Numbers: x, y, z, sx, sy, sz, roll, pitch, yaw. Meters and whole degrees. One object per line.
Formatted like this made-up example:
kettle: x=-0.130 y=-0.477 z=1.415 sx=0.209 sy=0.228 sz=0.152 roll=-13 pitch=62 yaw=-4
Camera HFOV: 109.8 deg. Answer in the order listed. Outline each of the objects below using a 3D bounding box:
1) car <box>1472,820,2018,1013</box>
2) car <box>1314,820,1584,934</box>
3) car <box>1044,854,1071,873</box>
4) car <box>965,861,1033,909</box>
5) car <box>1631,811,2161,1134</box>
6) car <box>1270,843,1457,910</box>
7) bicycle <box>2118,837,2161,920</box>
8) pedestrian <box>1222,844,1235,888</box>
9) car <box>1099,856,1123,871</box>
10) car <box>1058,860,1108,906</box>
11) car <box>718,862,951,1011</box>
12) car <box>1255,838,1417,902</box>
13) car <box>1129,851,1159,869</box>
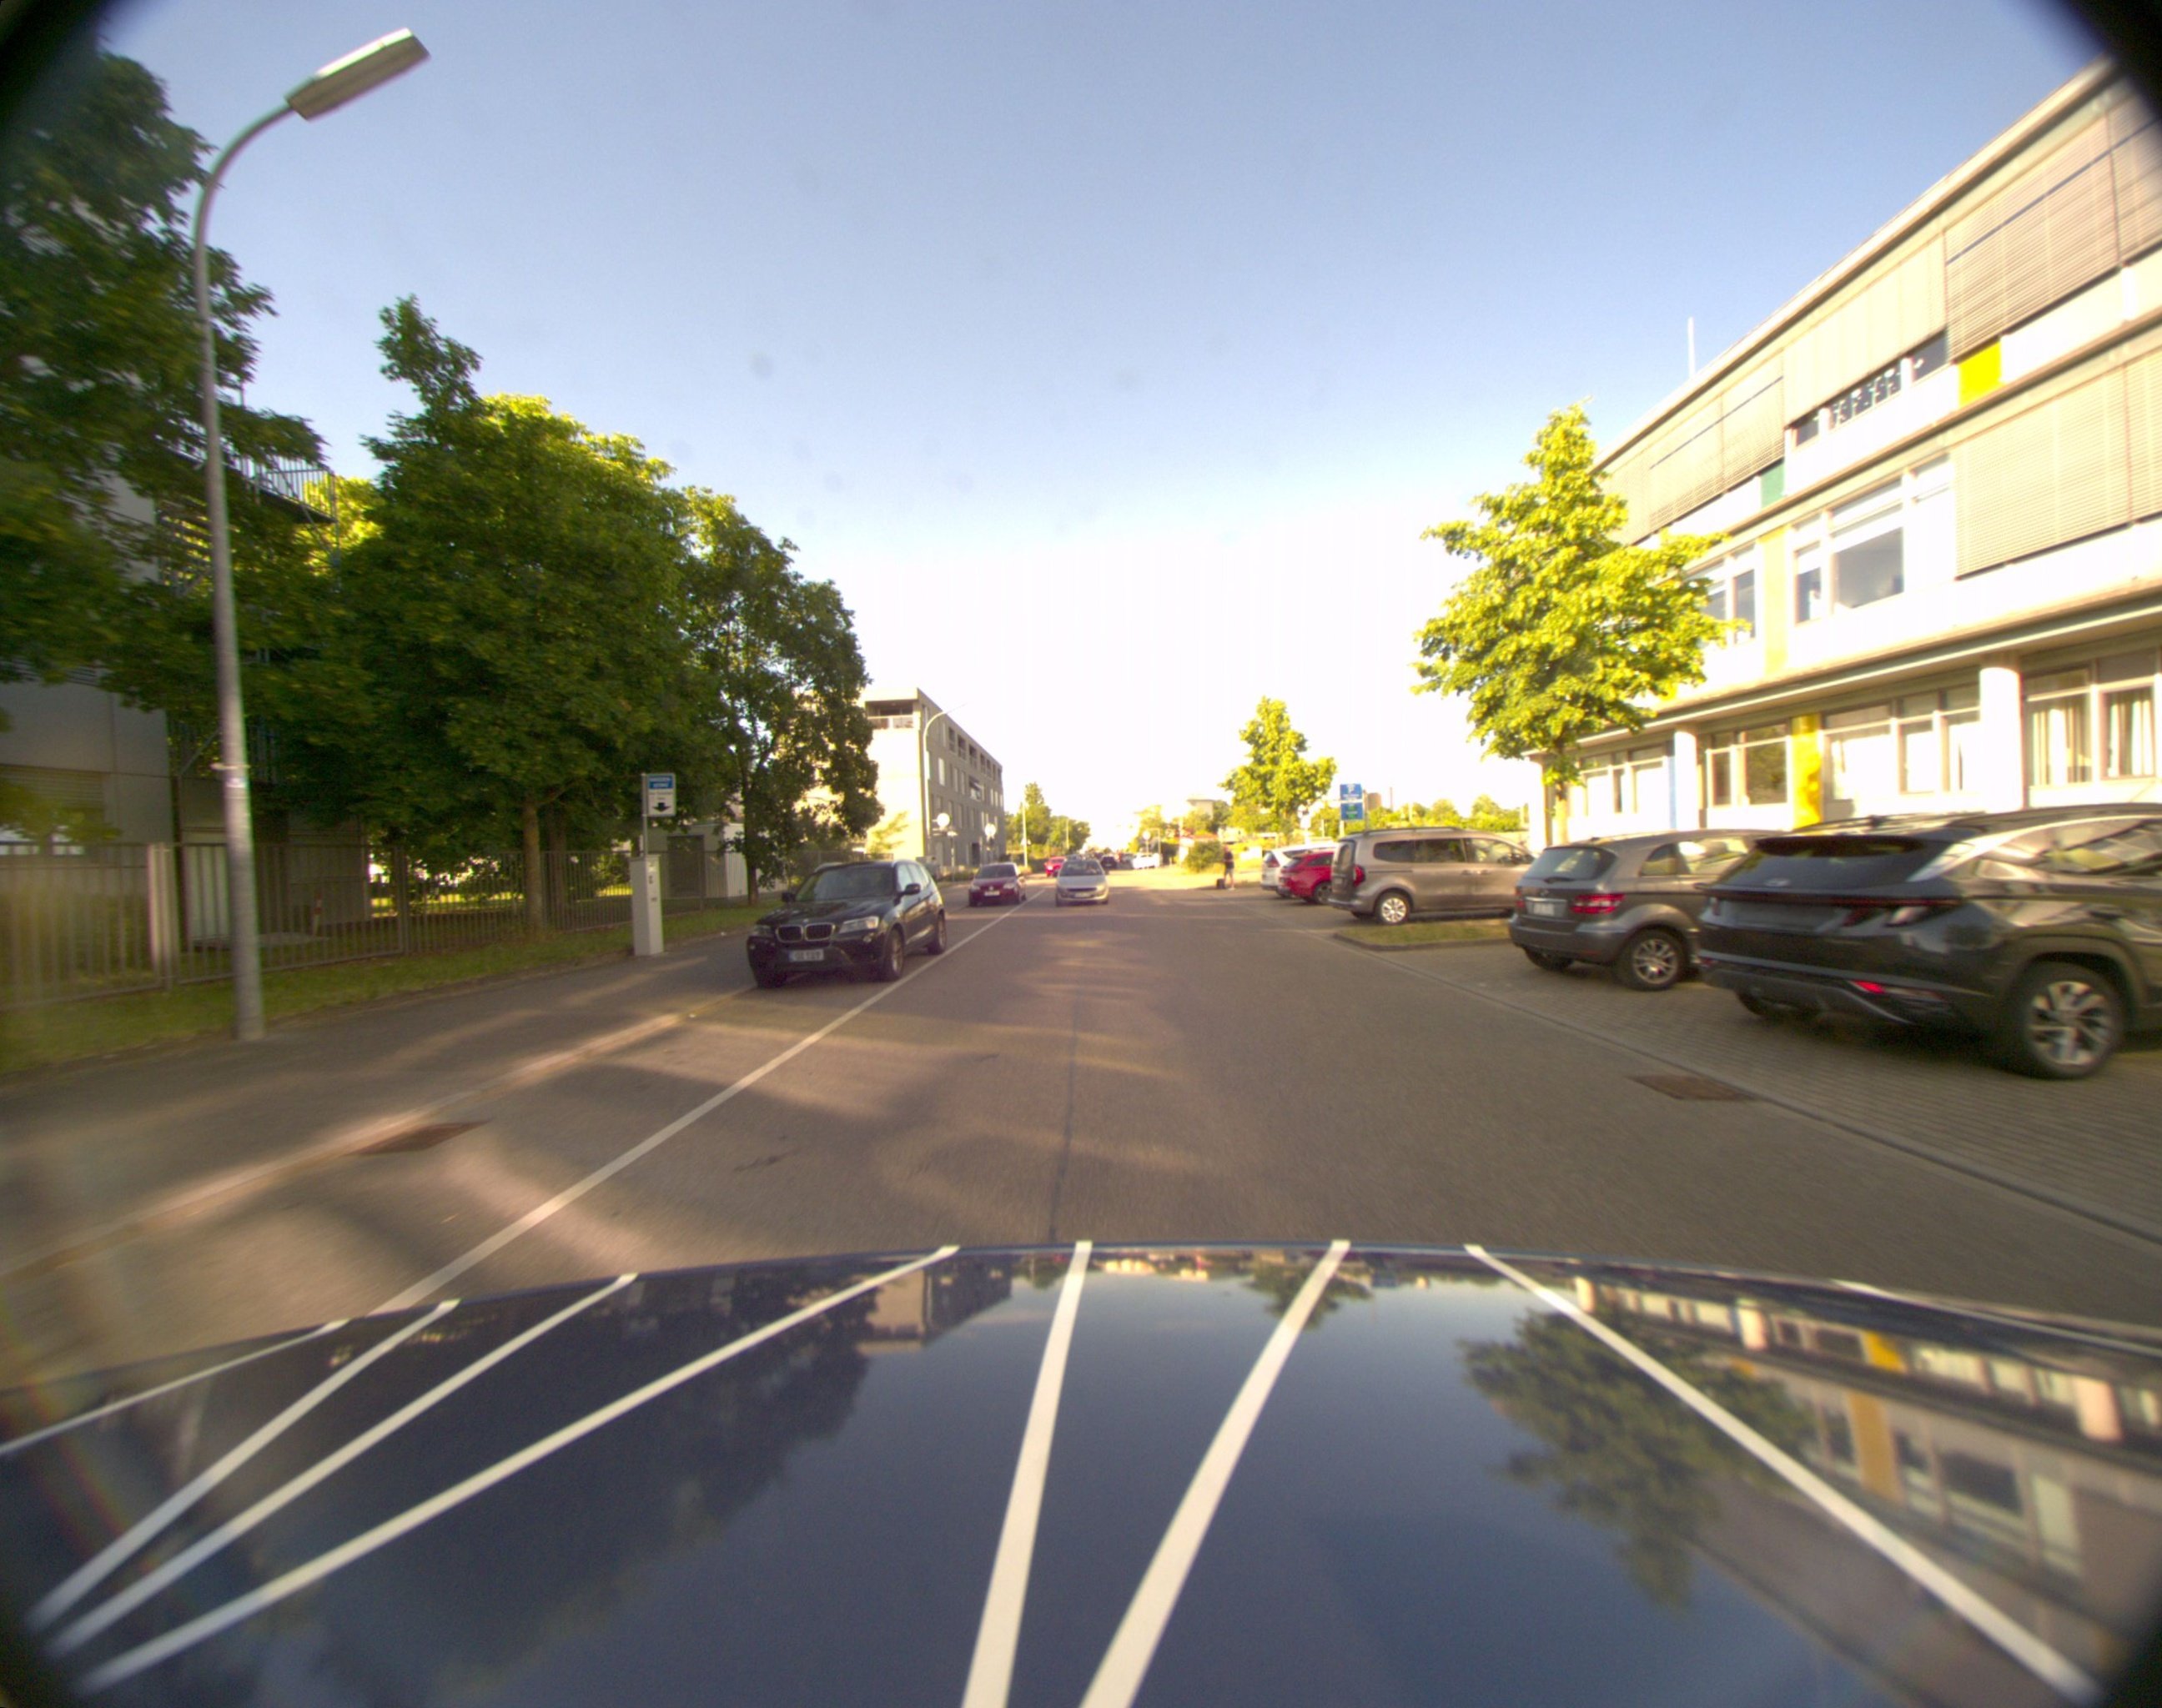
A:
car: x=7.083 y=0.605 z=8.473 sx=4.360 sy=1.581 sz=1.999 roll=-4 pitch=0 yaw=-3
car: x=7.195 y=0.434 z=15.260 sx=4.358 sy=1.852 sz=2.000 roll=-4 pitch=0 yaw=2
car: x=-1.845 y=0.744 z=59.459 sx=1.999 sy=1.382 sz=3.998 roll=-1 pitch=0 yaw=-3
car: x=-2.901 y=1.060 z=27.777 sx=1.824 sy=1.435 sz=4.294 roll=-4 pitch=0 yaw=1
car: x=6.811 y=0.618 z=5.398 sx=4.360 sy=1.618 sz=1.999 roll=-4 pitch=1 yaw=-3
car: x=7.574 y=0.585 z=20.753 sx=4.357 sy=1.452 sz=2.001 roll=-4 pitch=1 yaw=6
bicycle: x=14.467 y=0.325 z=9.588 sx=0.519 sy=1.090 sz=1.660 roll=-1 pitch=0 yaw=1
pedestrian: x=5.993 y=0.476 z=30.895 sx=0.369 sy=1.712 sz=0.479 roll=-4 pitch=5 yaw=-2
car: x=3.082 y=0.967 z=78.220 sx=1.912 sy=1.499 sz=3.998 roll=-1 pitch=0 yaw=-5
car: x=0.092 y=0.926 z=25.563 sx=1.551 sy=1.389 sz=3.454 roll=-1 pitch=0 yaw=1
car: x=-3.346 y=1.020 z=11.343 sx=1.890 sy=1.616 sz=4.294 roll=-4 pitch=0 yaw=1
car: x=7.766 y=0.475 z=23.564 sx=4.357 sy=1.637 sz=2.001 roll=-4 pitch=1 yaw=6
car: x=5.486 y=0.535 z=66.617 sx=1.999 sy=1.499 sz=3.998 roll=-1 pitch=0 yaw=-5
